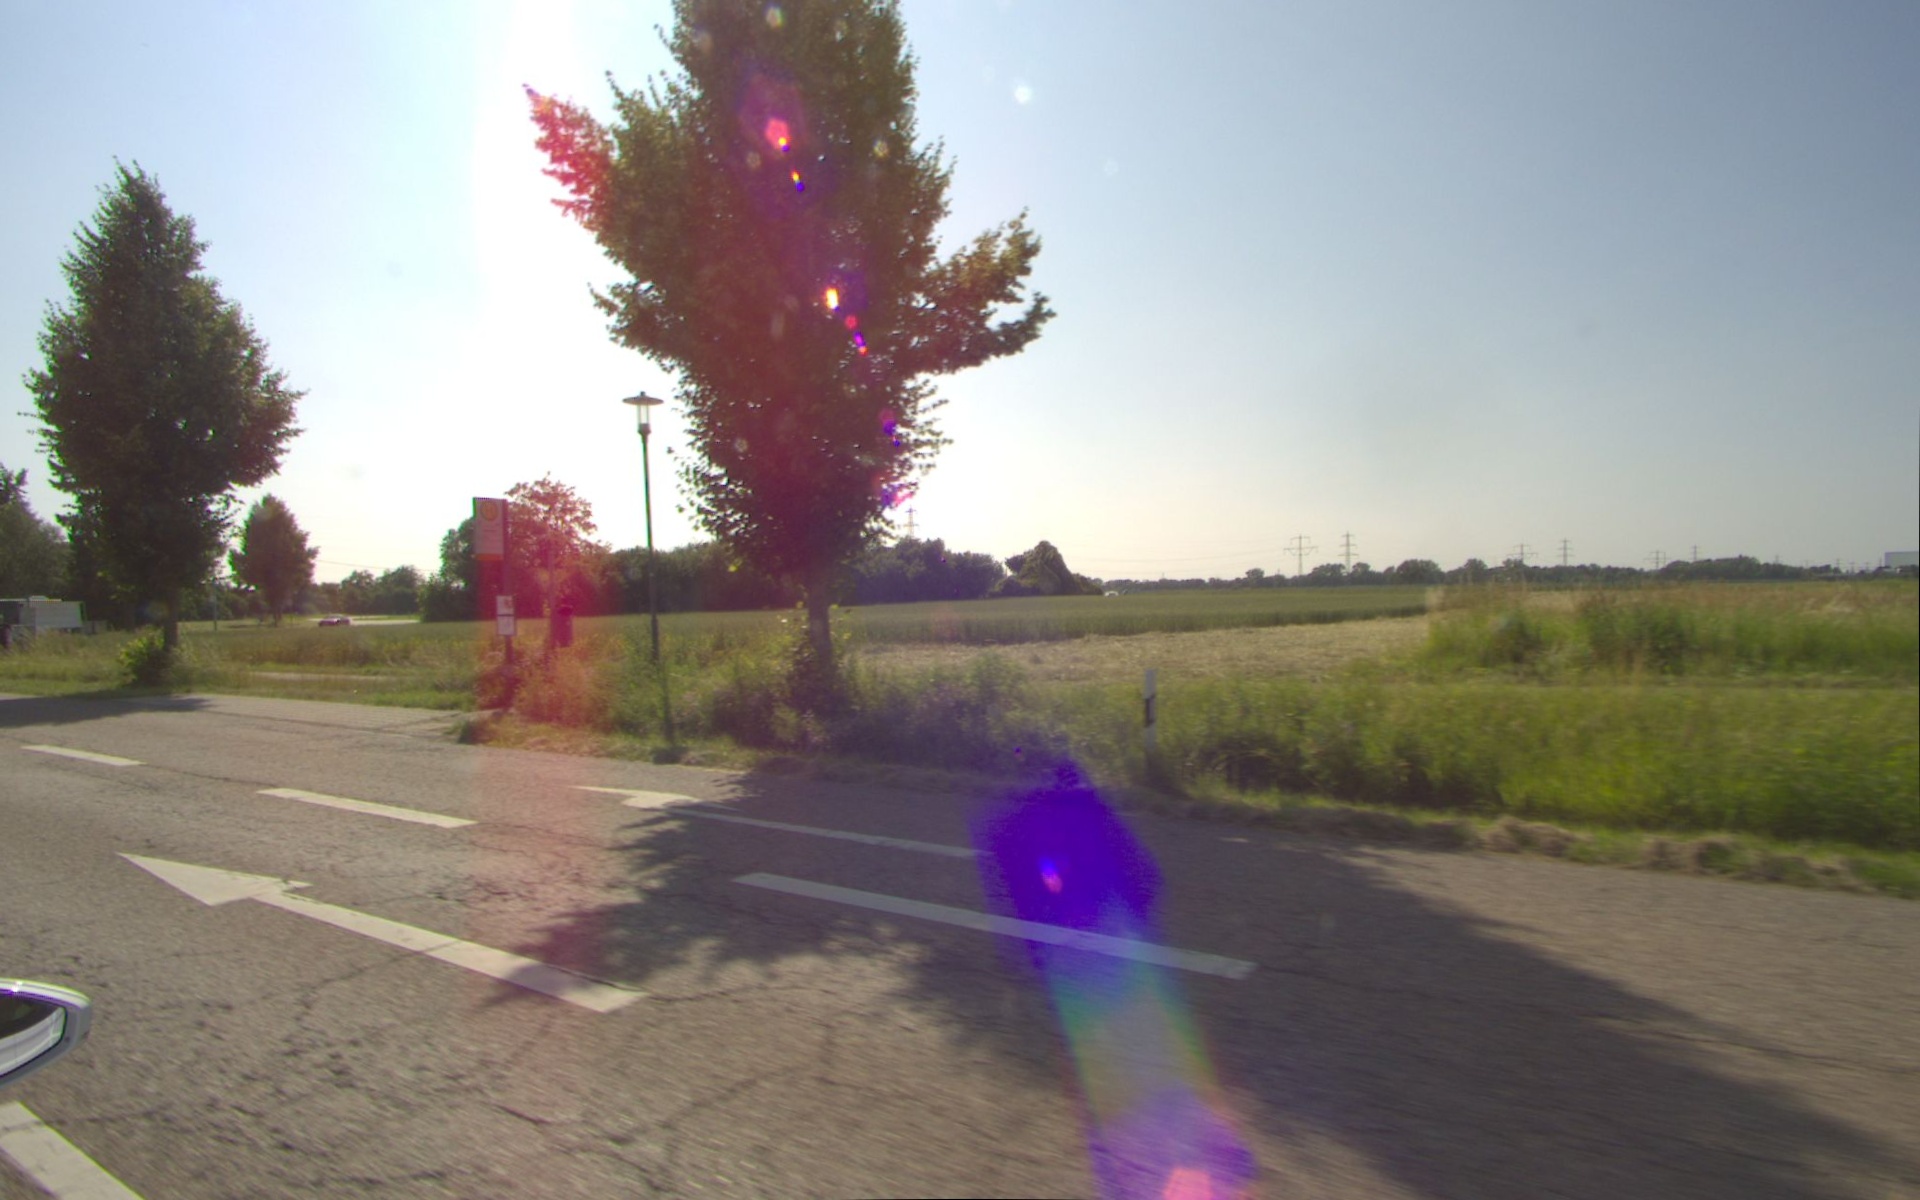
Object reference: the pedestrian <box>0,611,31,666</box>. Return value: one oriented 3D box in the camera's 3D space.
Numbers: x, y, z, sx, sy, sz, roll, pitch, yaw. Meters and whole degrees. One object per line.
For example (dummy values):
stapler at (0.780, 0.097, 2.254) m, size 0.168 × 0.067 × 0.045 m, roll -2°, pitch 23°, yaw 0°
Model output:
pedestrian at (-32.987, 1.312, 34.655) m, size 1.177 × 1.864 × 0.900 m, roll 0°, pitch 1°, yaw 29°

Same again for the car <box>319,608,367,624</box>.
car at (-59.280, 1.496, 96.297) m, size 1.649 × 1.417 × 3.997 m, roll -1°, pitch 0°, yaw 10°

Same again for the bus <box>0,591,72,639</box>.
bus at (-61.271, 0.983, 60.256) m, size 2.889 × 2.916 × 11.956 m, roll -1°, pitch 1°, yaw 17°
